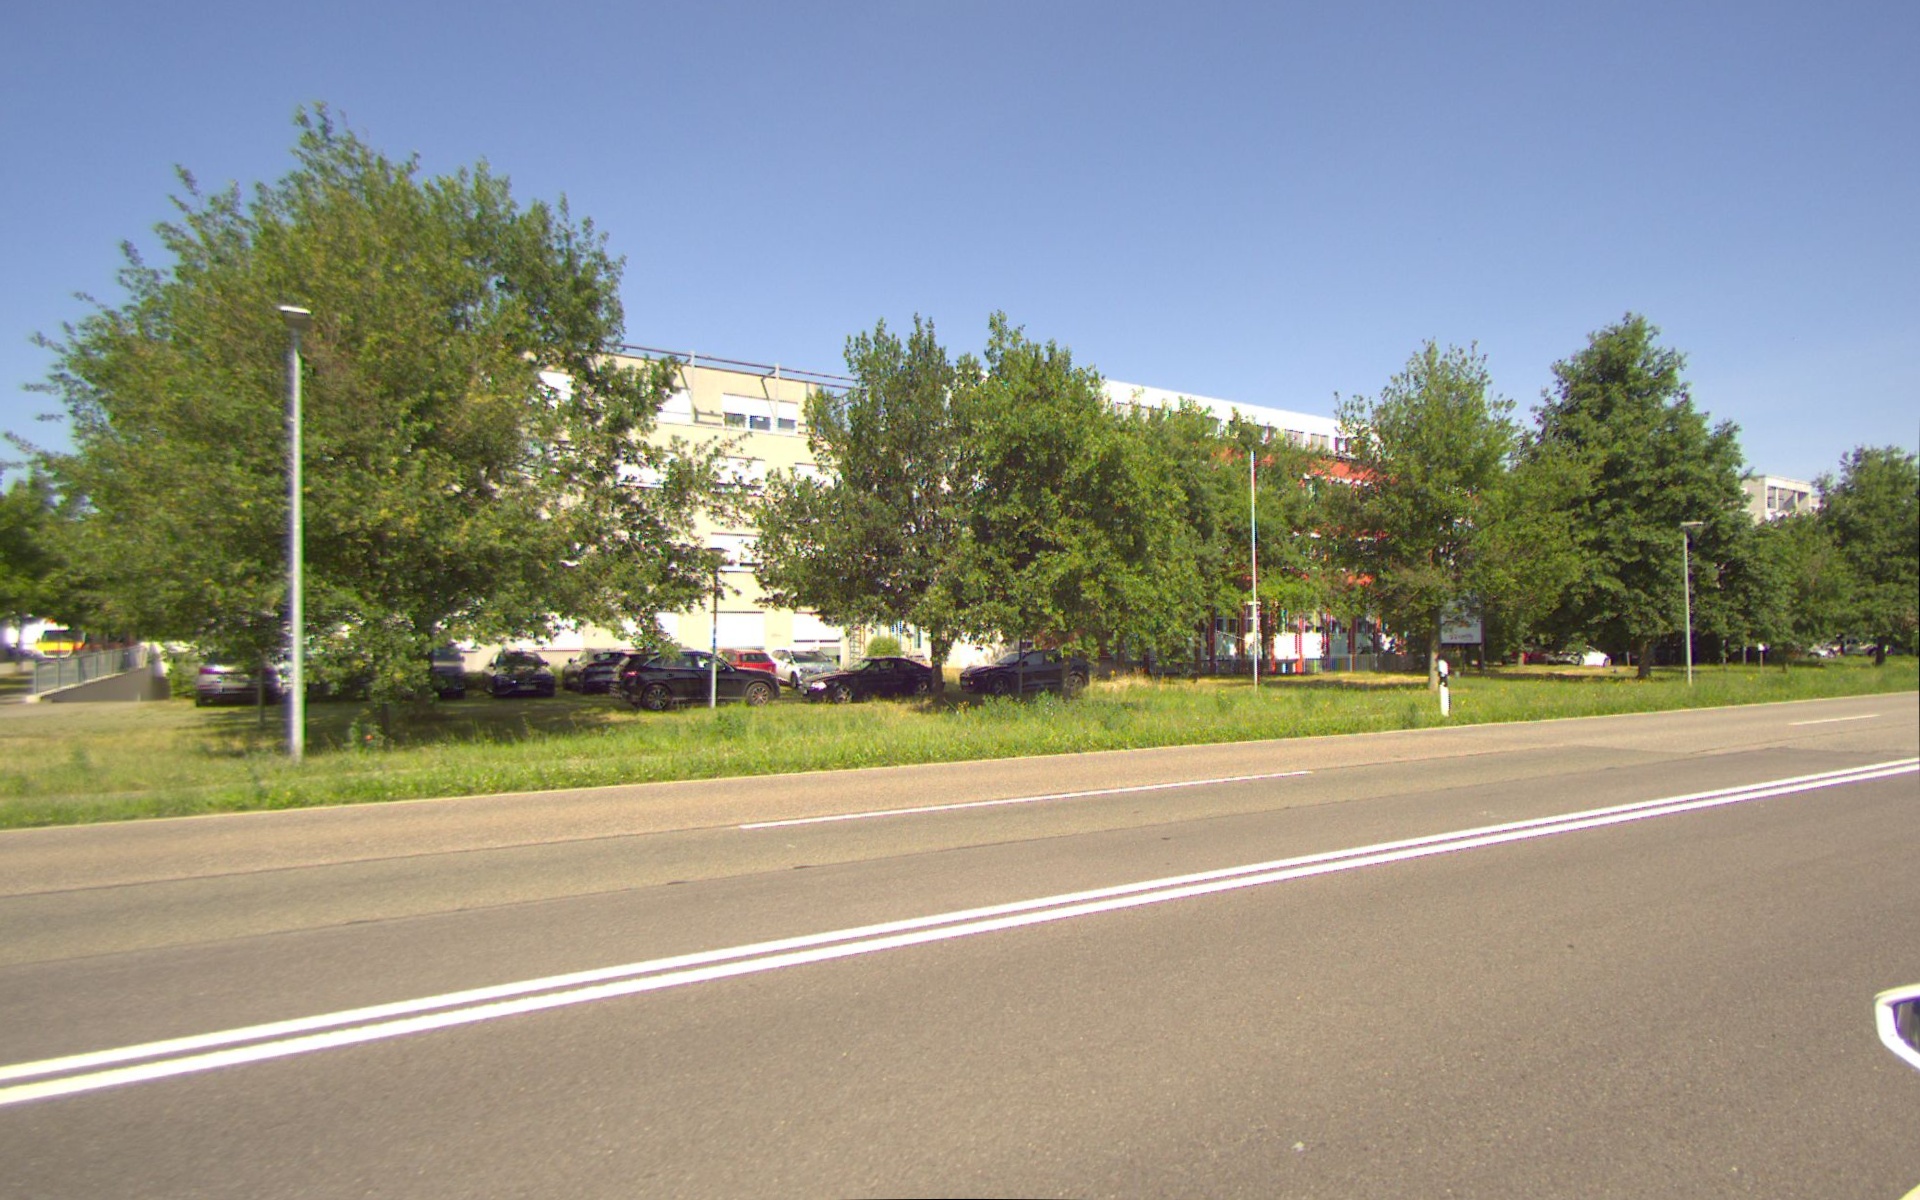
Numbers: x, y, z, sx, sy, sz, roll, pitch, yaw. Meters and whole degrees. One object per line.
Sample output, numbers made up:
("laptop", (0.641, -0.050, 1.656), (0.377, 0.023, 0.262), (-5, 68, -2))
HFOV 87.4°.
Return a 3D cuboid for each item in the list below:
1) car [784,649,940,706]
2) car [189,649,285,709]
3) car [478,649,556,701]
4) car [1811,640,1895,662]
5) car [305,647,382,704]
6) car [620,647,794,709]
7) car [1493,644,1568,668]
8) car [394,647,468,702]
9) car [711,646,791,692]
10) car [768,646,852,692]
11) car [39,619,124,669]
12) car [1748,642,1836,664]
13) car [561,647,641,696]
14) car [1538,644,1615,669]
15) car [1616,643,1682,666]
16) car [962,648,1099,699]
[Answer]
("car", (-2.973, 2.338, 30.898), (4.496, 1.599, 1.735), (1, -2, -31))
("car", (-20.727, 2.214, 28.936), (1.866, 1.557, 3.968), (1, -2, -31))
("car", (-14.527, 2.390, 32.806), (1.866, 1.557, 3.968), (1, -2, -31))
("car", (70.618, 3.980, 79.526), (1.977, 1.672, 4.573), (1, -2, -30))
("car", (-18.711, 2.232, 30.567), (1.866, 1.557, 3.968), (1, -2, -31))
("car", (-7.103, 2.148, 28.342), (4.496, 1.599, 1.735), (1, -2, -31))
("car", (37.057, 3.617, 65.220), (4.894, 1.456, 1.985), (1, -2, -29))
("car", (-16.688, 2.274, 31.609), (1.866, 1.557, 3.968), (1, -2, -31))
("car", (-7.768, 2.500, 37.155), (1.722, 1.557, 3.968), (1, -2, -31))
("car", (-5.773, 2.570, 38.294), (1.722, 1.606, 4.115), (1, -2, -31))
("car", (-48.647, 2.412, 55.795), (2.259, 2.643, 6.548), (1, -2, -30))
("car", (60.579, 3.827, 73.195), (1.977, 1.456, 4.573), (1, -2, -30))
("car", (-12.389, 2.406, 34.550), (1.866, 1.557, 3.968), (1, -2, -31))
("car", (38.836, 3.535, 63.263), (4.894, 1.456, 1.985), (1, -2, -29))
("car", (47.096, 3.701, 68.656), (4.556, 1.456, 1.984), (1, -2, -31))
("car", (2.421, 2.453, 34.064), (4.496, 1.599, 1.735), (1, -2, -31))
